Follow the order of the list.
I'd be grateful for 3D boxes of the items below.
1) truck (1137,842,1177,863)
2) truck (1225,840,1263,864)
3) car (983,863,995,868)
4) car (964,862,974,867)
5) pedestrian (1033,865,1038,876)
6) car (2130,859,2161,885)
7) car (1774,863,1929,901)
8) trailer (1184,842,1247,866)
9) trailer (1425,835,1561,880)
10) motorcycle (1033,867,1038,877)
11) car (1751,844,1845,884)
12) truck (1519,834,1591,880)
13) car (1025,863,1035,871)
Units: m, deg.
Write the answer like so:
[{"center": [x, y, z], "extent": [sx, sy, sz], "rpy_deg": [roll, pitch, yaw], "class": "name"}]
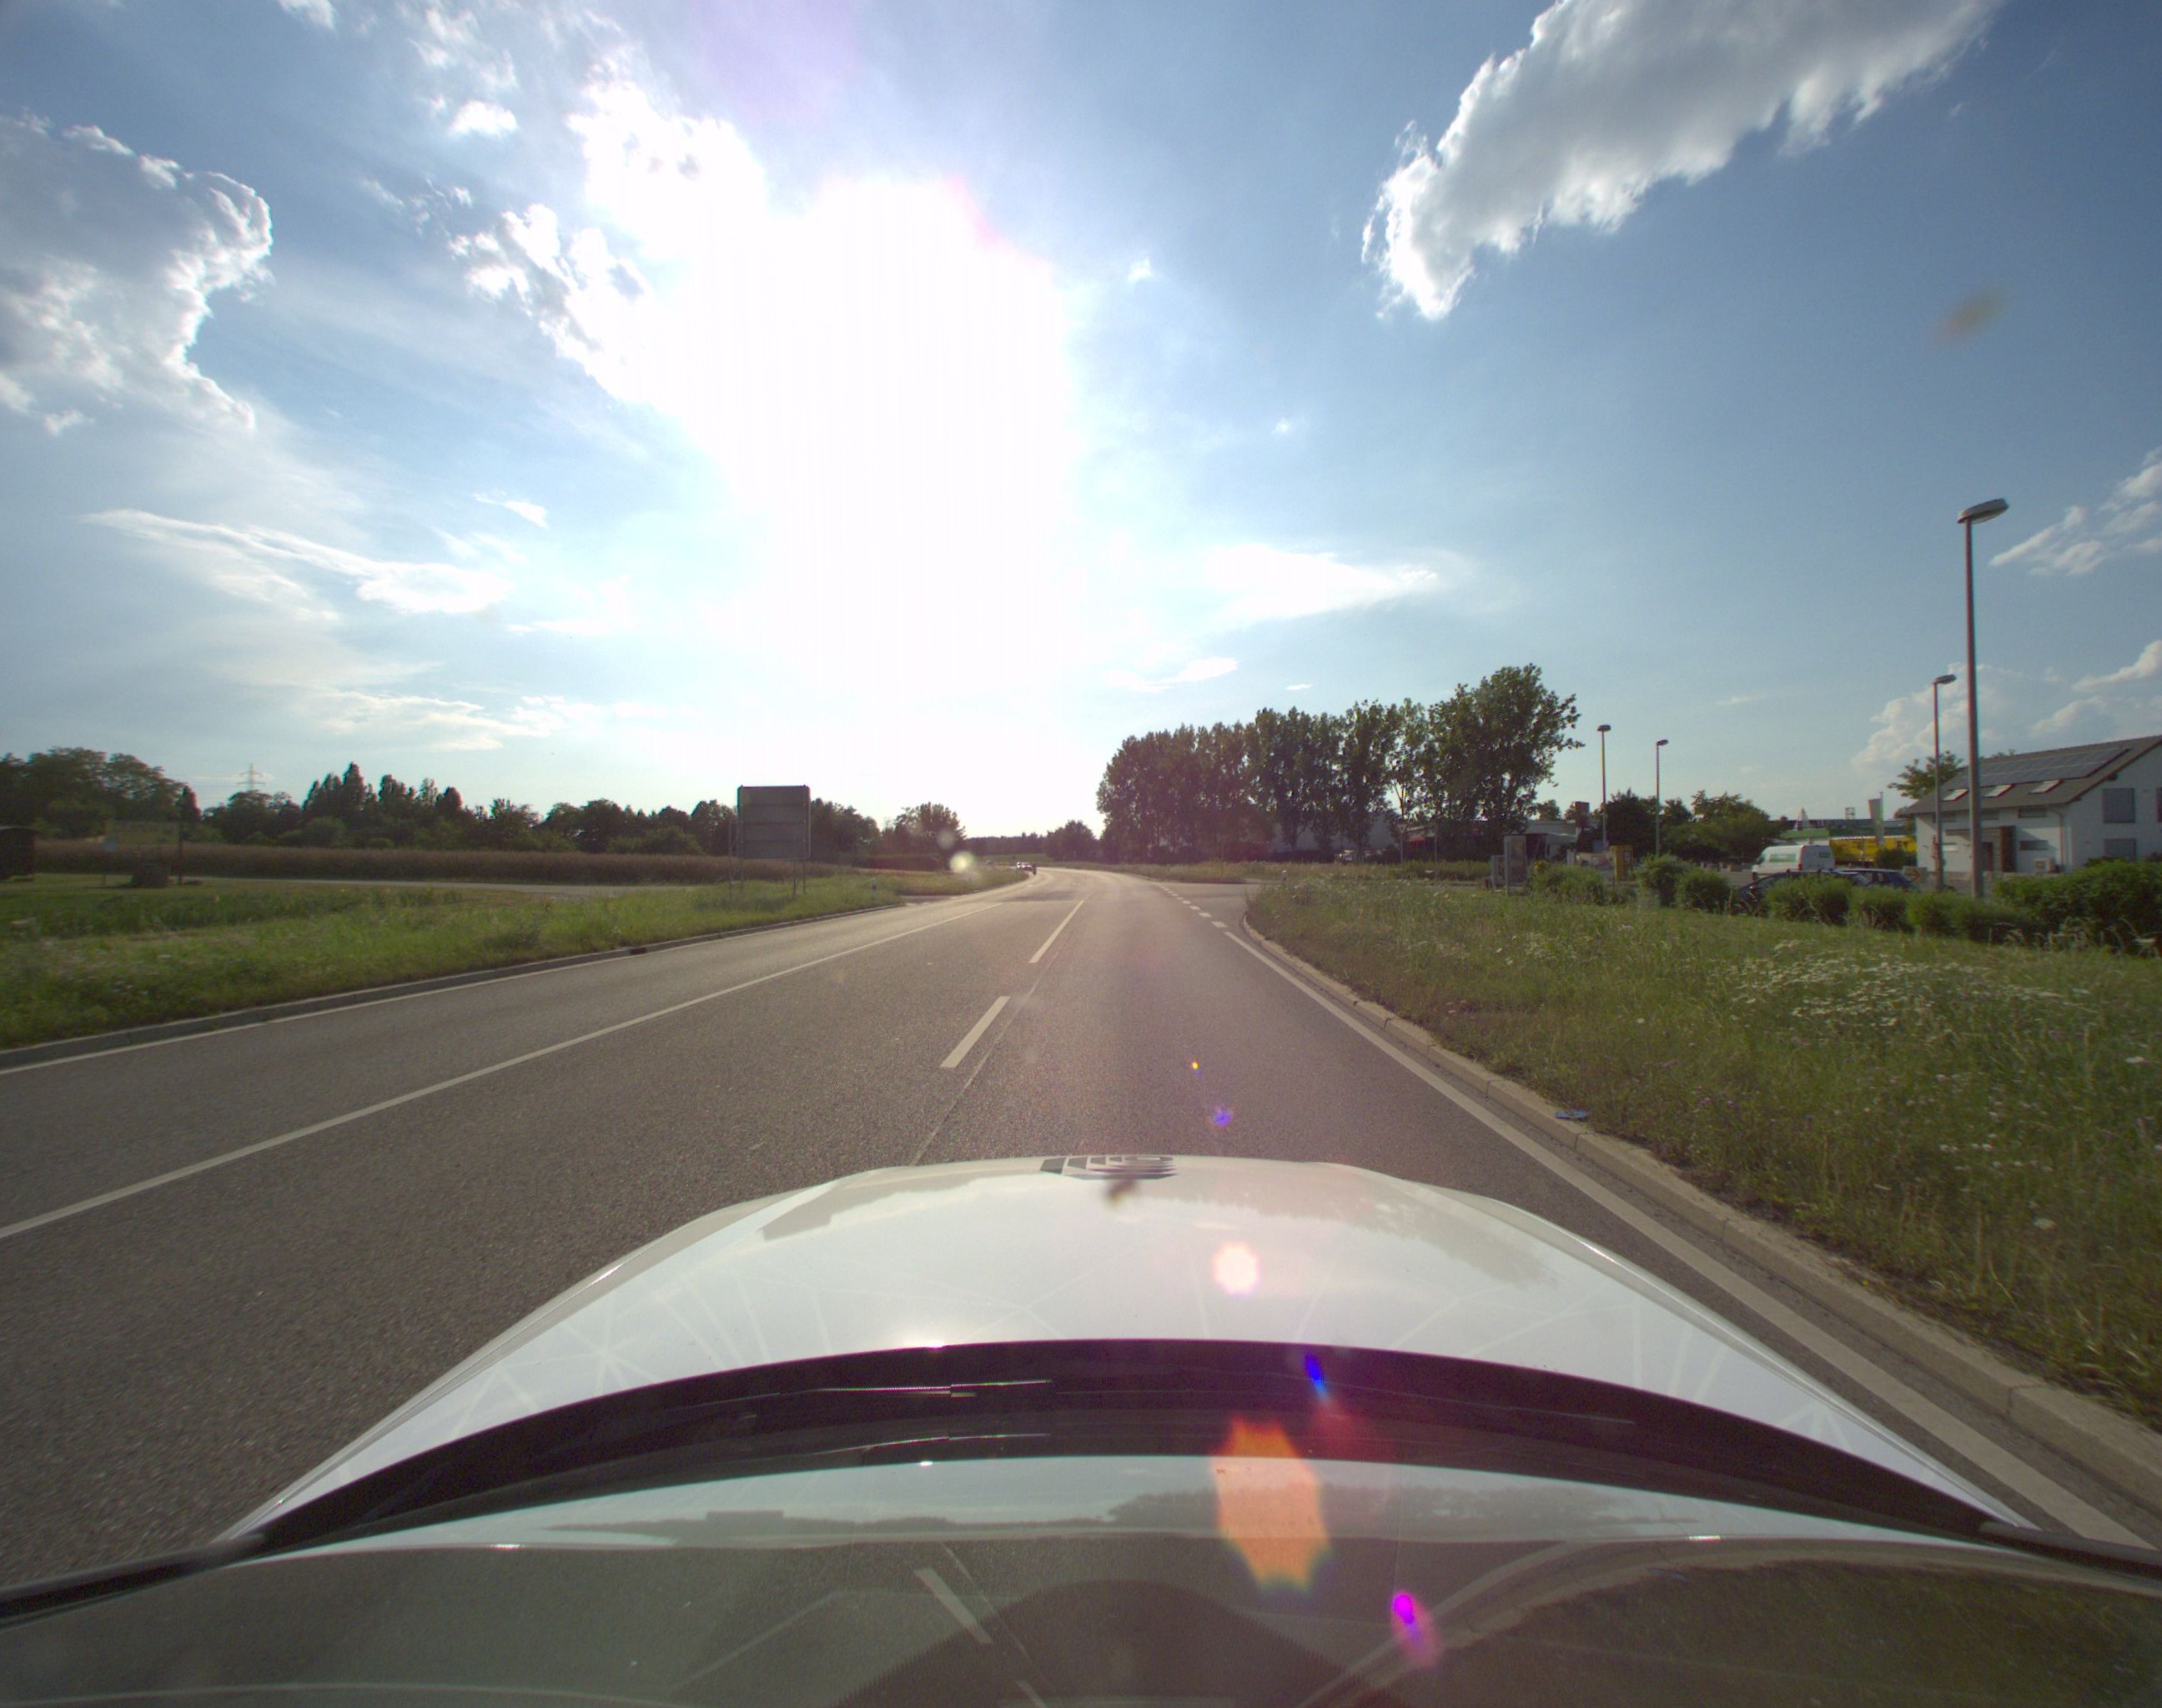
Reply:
[{"center": [12.731, -0.189, 137.680], "extent": [2.521, 3.377, 9.613], "rpy_deg": [2, -2, -22], "class": "truck"}, {"center": [23.390, -0.228, 116.964], "extent": [2.632, 3.162, 5.662], "rpy_deg": [2, -3, -24], "class": "truck"}, {"center": [-24.393, 2.992, 215.516], "extent": [1.976, 1.151, 3.837], "rpy_deg": [2, -2, -23], "class": "car"}, {"center": [-32.318, 3.084, 234.611], "extent": [1.858, 1.408, 3.616], "rpy_deg": [2, -2, -23], "class": "car"}, {"center": [-6.061, 2.214, 109.073], "extent": [0.564, 1.505, 0.864], "rpy_deg": [1, -1, -1], "class": "pedestrian"}, {"center": [62.933, 1.070, 46.838], "extent": [3.589, 1.394, 1.842], "rpy_deg": [2, -2, -13], "class": "car"}, {"center": [28.190, 0.984, 29.919], "extent": [1.607, 1.202, 3.876], "rpy_deg": [-2, 1, -33], "class": "car"}, {"center": [20.263, 0.072, 124.056], "extent": [2.696, 3.142, 13.162], "rpy_deg": [2, -3, -24], "class": "trailer"}, {"center": [39.069, 0.417, 78.258], "extent": [2.252, 3.916, 13.622], "rpy_deg": [2, -2, -21], "class": "trailer"}, {"center": [-6.063, 2.423, 108.968], "extent": [0.583, 1.261, 2.119], "rpy_deg": [1, -1, -1], "class": "motorcycle"}, {"center": [48.684, 0.766, 55.514], "extent": [2.211, 2.519, 6.848], "rpy_deg": [1, -2, 17], "class": "car"}, {"center": [41.744, 0.310, 71.822], "extent": [2.255, 3.916, 5.073], "rpy_deg": [3, -2, -27], "class": "truck"}, {"center": [-8.956, 2.285, 143.072], "extent": [1.681, 1.349, 3.995], "rpy_deg": [-2, -1, -3], "class": "car"}]
